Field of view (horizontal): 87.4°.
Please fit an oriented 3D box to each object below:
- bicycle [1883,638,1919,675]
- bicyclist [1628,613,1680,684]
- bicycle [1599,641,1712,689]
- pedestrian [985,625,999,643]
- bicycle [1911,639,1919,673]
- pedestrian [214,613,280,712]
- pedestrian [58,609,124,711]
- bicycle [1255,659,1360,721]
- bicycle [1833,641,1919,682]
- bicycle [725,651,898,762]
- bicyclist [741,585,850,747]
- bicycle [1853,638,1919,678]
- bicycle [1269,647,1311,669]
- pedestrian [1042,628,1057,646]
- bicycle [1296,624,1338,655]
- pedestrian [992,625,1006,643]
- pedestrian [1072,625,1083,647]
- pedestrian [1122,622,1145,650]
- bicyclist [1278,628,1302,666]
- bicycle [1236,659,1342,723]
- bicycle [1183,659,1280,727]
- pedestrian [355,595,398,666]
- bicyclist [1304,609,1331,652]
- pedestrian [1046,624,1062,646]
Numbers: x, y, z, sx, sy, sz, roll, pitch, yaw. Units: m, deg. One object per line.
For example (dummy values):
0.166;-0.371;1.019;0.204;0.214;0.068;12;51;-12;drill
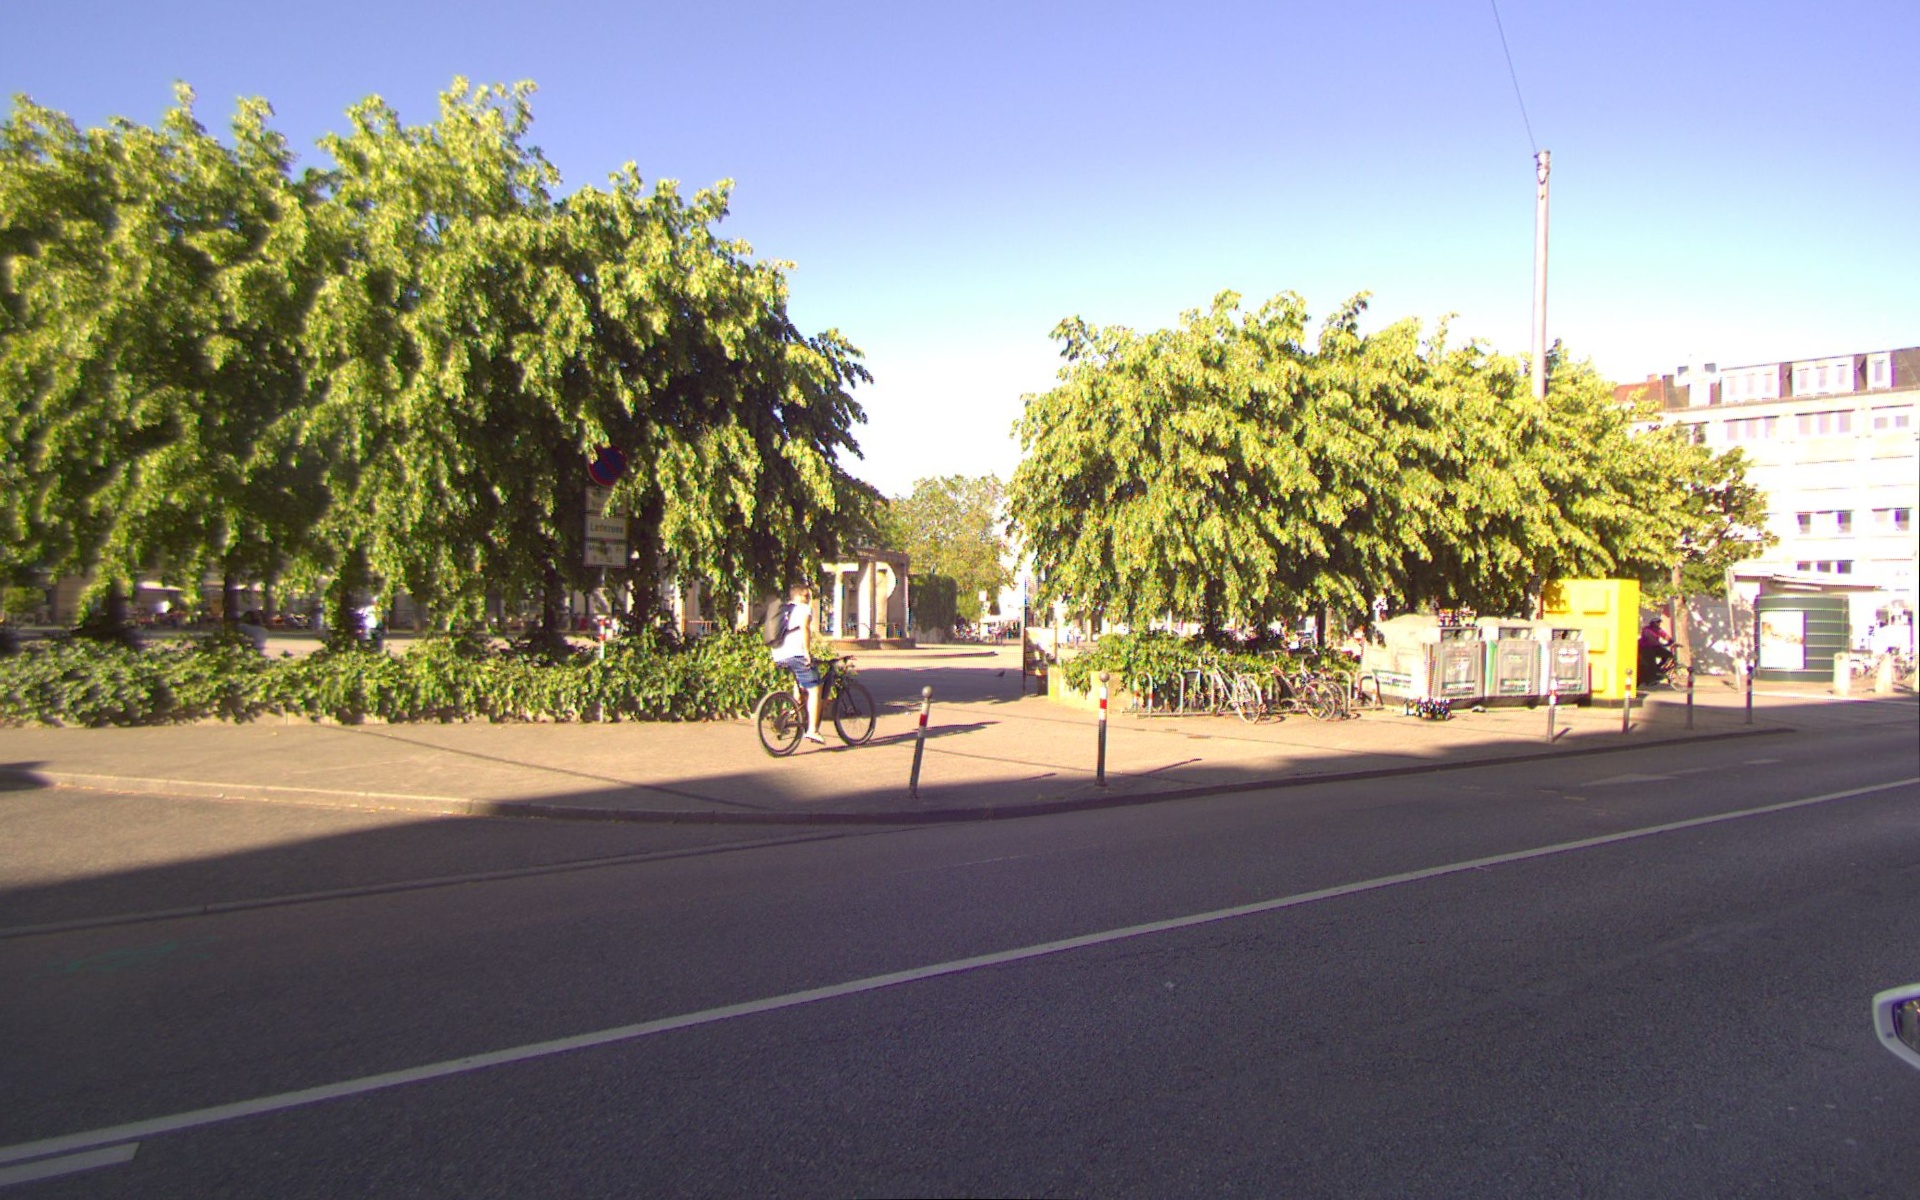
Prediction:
35.257;2.086;36.130;0.932;1.287;2.859;2;0;-32;bicycle
17.840;1.239;25.837;0.671;1.778;0.862;2;-3;-22;bicyclist
17.835;1.655;25.830;0.702;1.166;2.385;2;-3;-23;bicycle
2.798;2.995;87.983;0.867;1.497;0.940;2;0;42;pedestrian
37.240;2.157;37.274;0.932;1.276;2.648;2;0;-32;bicycle
-10.856;0.934;15.299;0.581;1.456;0.615;2;0;33;pedestrian
-12.864;0.871;14.882;0.615;1.456;0.647;2;0;-32;pedestrian
5.668;1.453;16.478;0.465;0.870;1.654;2;0;-35;bicycle
31.216;2.065;33.761;0.932;1.211;2.645;2;0;-32;bicycle
-1.651;1.161;11.462;0.597;1.116;1.977;2;0;45;bicycle
-1.847;0.711;11.274;0.778;1.722;0.890;2;0;45;bicyclist
33.138;2.041;35.063;0.923;1.291;2.764;2;0;-32;bicycle
12.494;2.188;38.055;0.571;0.834;1.853;1;-3;-17;bicycle
6.368;2.631;71.502;0.884;1.230;0.866;2;0;-8;pedestrian
14.719;1.616;41.431;0.608;1.178;1.951;2;0;-15;bicycle
3.364;2.955;87.214;0.867;1.557;0.894;2;0;33;pedestrian
8.236;2.515;70.422;0.761;1.541;0.838;2;0;6;pedestrian
12.047;2.494;69.890;1.084;1.867;1.296;2;0;36;pedestrian
12.499;1.776;38.078;0.566;1.399;0.706;2;-3;-17;bicyclist
5.269;1.443;16.183;0.465;0.870;1.659;2;0;-35;bicycle
4.169;1.411;15.524;0.464;0.897;1.558;2;0;-29;bicycle
-13.063;0.679;22.496;0.688;1.541;0.676;2;0;-41;pedestrian
14.732;1.260;41.373;0.691;1.732;0.808;2;0;-13;bicyclist
6.876;2.526;73.475;1.003;1.541;1.036;2;0;15;pedestrian
